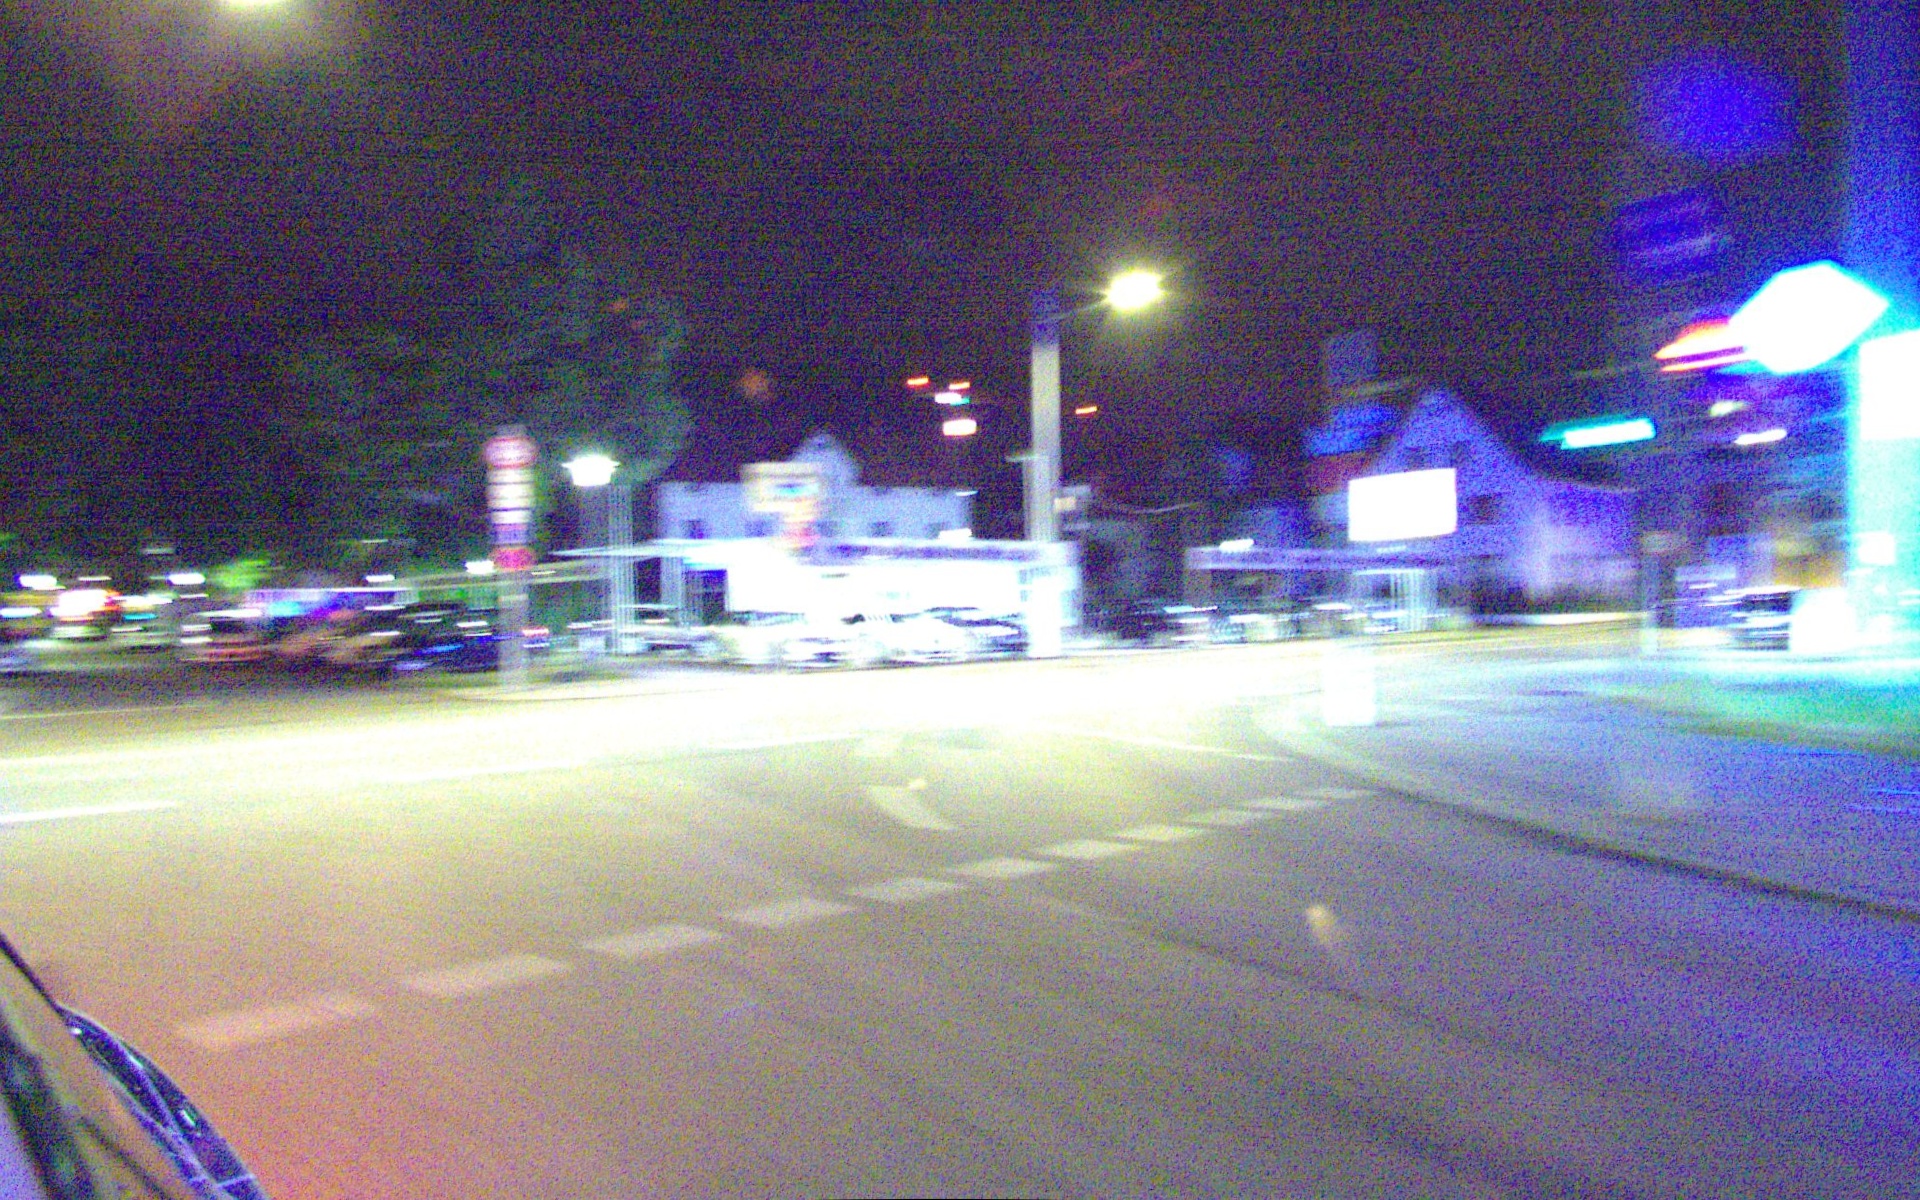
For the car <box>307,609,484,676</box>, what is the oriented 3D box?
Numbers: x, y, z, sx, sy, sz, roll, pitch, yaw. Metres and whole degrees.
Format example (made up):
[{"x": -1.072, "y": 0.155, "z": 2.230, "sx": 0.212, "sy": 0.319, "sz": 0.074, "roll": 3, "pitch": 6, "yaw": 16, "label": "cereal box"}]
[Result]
[{"x": -15.565, "y": 1.106, "z": 27.970, "sx": 3.938, "sy": 1.634, "sz": 2.003, "roll": -1, "pitch": 0, "yaw": -42, "label": "car"}]

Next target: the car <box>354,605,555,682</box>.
[{"x": -12.113, "y": 0.975, "z": 24.366, "sx": 3.938, "sy": 1.634, "sz": 2.003, "roll": -1, "pitch": 0, "yaw": -42, "label": "car"}]

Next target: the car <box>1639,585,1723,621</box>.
[{"x": 32.378, "y": 0.146, "z": 45.426, "sx": 3.935, "sy": 1.513, "sz": 2.004, "roll": 0, "pitch": -1, "yaw": -37, "label": "car"}]

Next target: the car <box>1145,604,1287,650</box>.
[{"x": 8.642, "y": 0.882, "z": 34.478, "sx": 1.967, "sy": 1.460, "sz": 4.463, "roll": 0, "pitch": -1, "yaw": -37, "label": "car"}]

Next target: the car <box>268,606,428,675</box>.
[{"x": -18.861, "y": 1.180, "z": 31.243, "sx": 3.938, "sy": 1.900, "sz": 2.003, "roll": -1, "pitch": 0, "yaw": -42, "label": "car"}]

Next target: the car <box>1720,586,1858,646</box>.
[{"x": 22.839, "y": 0.398, "z": 27.861, "sx": 3.934, "sy": 1.527, "sz": 2.005, "roll": -1, "pitch": 0, "yaw": -36, "label": "car"}]

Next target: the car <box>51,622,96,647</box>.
[{"x": -61.109, "y": 2.337, "z": 69.754, "sx": 4.000, "sy": 1.646, "sz": 1.972, "roll": -1, "pitch": -1, "yaw": 43, "label": "car"}]

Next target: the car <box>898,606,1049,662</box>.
[{"x": 0.293, "y": 0.909, "z": 28.669, "sx": 1.967, "sy": 1.460, "sz": 4.463, "roll": 0, "pitch": -1, "yaw": -37, "label": "car"}]

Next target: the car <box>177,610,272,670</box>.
[{"x": -23.975, "y": 1.240, "z": 32.943, "sx": 1.970, "sy": 1.795, "sz": 4.003, "roll": 1, "pitch": -1, "yaw": -44, "label": "car"}]

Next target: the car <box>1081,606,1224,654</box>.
[{"x": 6.216, "y": 0.942, "z": 33.109, "sx": 1.967, "sy": 1.460, "sz": 4.463, "roll": 0, "pitch": -1, "yaw": -37, "label": "car"}]

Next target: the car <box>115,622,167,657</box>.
[{"x": -41.242, "y": 1.939, "z": 51.026, "sx": 1.968, "sy": 1.646, "sz": 4.008, "roll": 0, "pitch": -1, "yaw": -38, "label": "car"}]

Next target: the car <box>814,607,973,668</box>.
[{"x": -1.828, "y": 0.913, "z": 26.480, "sx": 1.968, "sy": 1.460, "sz": 4.462, "roll": 0, "pitch": -1, "yaw": -38, "label": "car"}]

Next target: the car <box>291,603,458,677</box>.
[{"x": -17.163, "y": 1.102, "z": 29.729, "sx": 3.938, "sy": 1.960, "sz": 2.003, "roll": -1, "pitch": 0, "yaw": -42, "label": "car"}]

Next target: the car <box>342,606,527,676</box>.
[{"x": -13.729, "y": 0.996, "z": 26.555, "sx": 3.938, "sy": 1.634, "sz": 2.003, "roll": -1, "pitch": 0, "yaw": -42, "label": "car"}]

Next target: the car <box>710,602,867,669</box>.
[{"x": -4.277, "y": 0.807, "z": 24.699, "sx": 1.967, "sy": 1.460, "sz": 4.463, "roll": 0, "pitch": -1, "yaw": -37, "label": "car"}]

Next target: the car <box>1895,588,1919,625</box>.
[{"x": 41.072, "y": 0.268, "z": 42.450, "sx": 3.934, "sy": 1.531, "sz": 2.005, "roll": 0, "pitch": -1, "yaw": -36, "label": "car"}]
